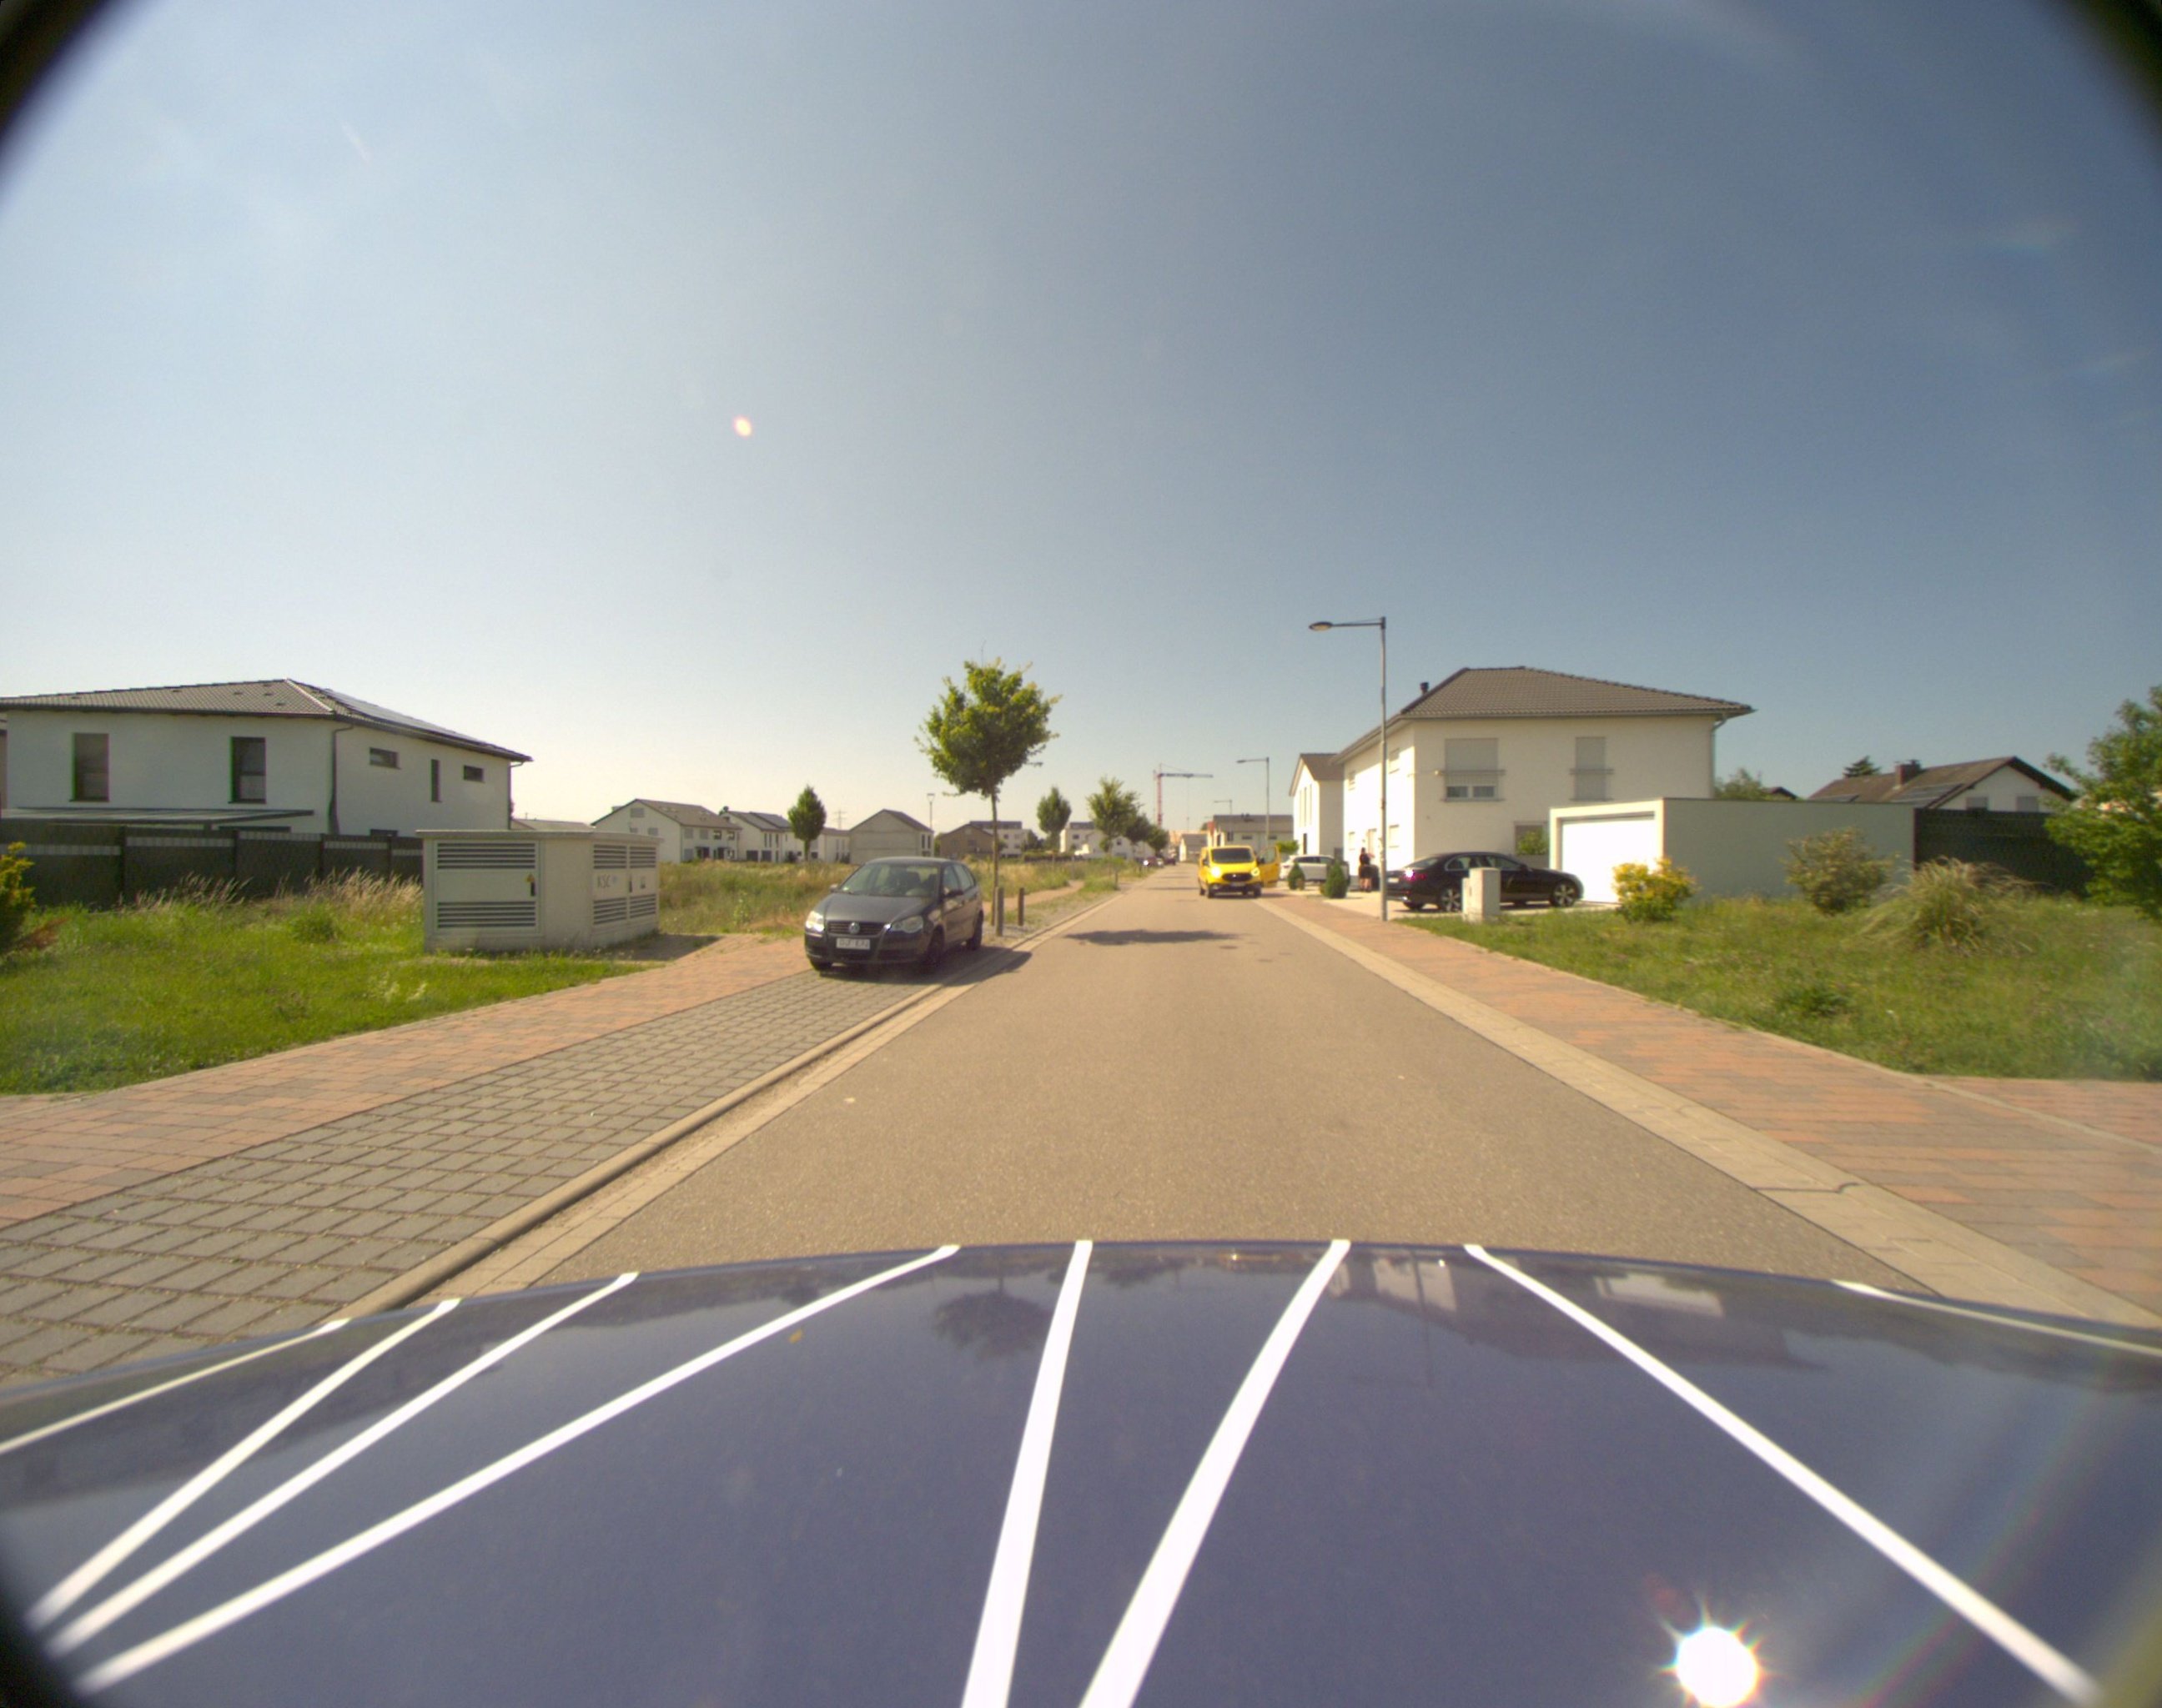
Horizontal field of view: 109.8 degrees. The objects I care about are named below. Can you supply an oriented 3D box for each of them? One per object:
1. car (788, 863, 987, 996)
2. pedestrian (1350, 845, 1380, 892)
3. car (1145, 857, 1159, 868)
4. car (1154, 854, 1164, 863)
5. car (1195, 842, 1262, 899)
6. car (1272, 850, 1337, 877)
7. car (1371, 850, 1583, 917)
[{"bbox_3d":[-2.505,0.905,10.755,1.602,1.466,3.676,2,0,4],"label":"car"},{"bbox_3d":[10.580,0.541,28.331,0.931,1.675,0.538,-3,0,17],"label":"pedestrian"},{"bbox_3d":[9.558,1.124,101.751,1.768,1.483,4.002,0,0,7],"label":"car"},{"bbox_3d":[12.422,0.731,120.901,1.492,1.389,3.274,0,0,7],"label":"car"},{"bbox_3d":[5.664,0.600,29.747,1.888,2.002,4.842,-1,0,3],"label":"car"},{"bbox_3d":[15.251,0.636,52.079,3.994,1.841,2.001,0,0,8],"label":"car"},{"bbox_3d":[9.676,0.691,18.733,4.406,1.444,1.748,-1,0,-6],"label":"car"}]
